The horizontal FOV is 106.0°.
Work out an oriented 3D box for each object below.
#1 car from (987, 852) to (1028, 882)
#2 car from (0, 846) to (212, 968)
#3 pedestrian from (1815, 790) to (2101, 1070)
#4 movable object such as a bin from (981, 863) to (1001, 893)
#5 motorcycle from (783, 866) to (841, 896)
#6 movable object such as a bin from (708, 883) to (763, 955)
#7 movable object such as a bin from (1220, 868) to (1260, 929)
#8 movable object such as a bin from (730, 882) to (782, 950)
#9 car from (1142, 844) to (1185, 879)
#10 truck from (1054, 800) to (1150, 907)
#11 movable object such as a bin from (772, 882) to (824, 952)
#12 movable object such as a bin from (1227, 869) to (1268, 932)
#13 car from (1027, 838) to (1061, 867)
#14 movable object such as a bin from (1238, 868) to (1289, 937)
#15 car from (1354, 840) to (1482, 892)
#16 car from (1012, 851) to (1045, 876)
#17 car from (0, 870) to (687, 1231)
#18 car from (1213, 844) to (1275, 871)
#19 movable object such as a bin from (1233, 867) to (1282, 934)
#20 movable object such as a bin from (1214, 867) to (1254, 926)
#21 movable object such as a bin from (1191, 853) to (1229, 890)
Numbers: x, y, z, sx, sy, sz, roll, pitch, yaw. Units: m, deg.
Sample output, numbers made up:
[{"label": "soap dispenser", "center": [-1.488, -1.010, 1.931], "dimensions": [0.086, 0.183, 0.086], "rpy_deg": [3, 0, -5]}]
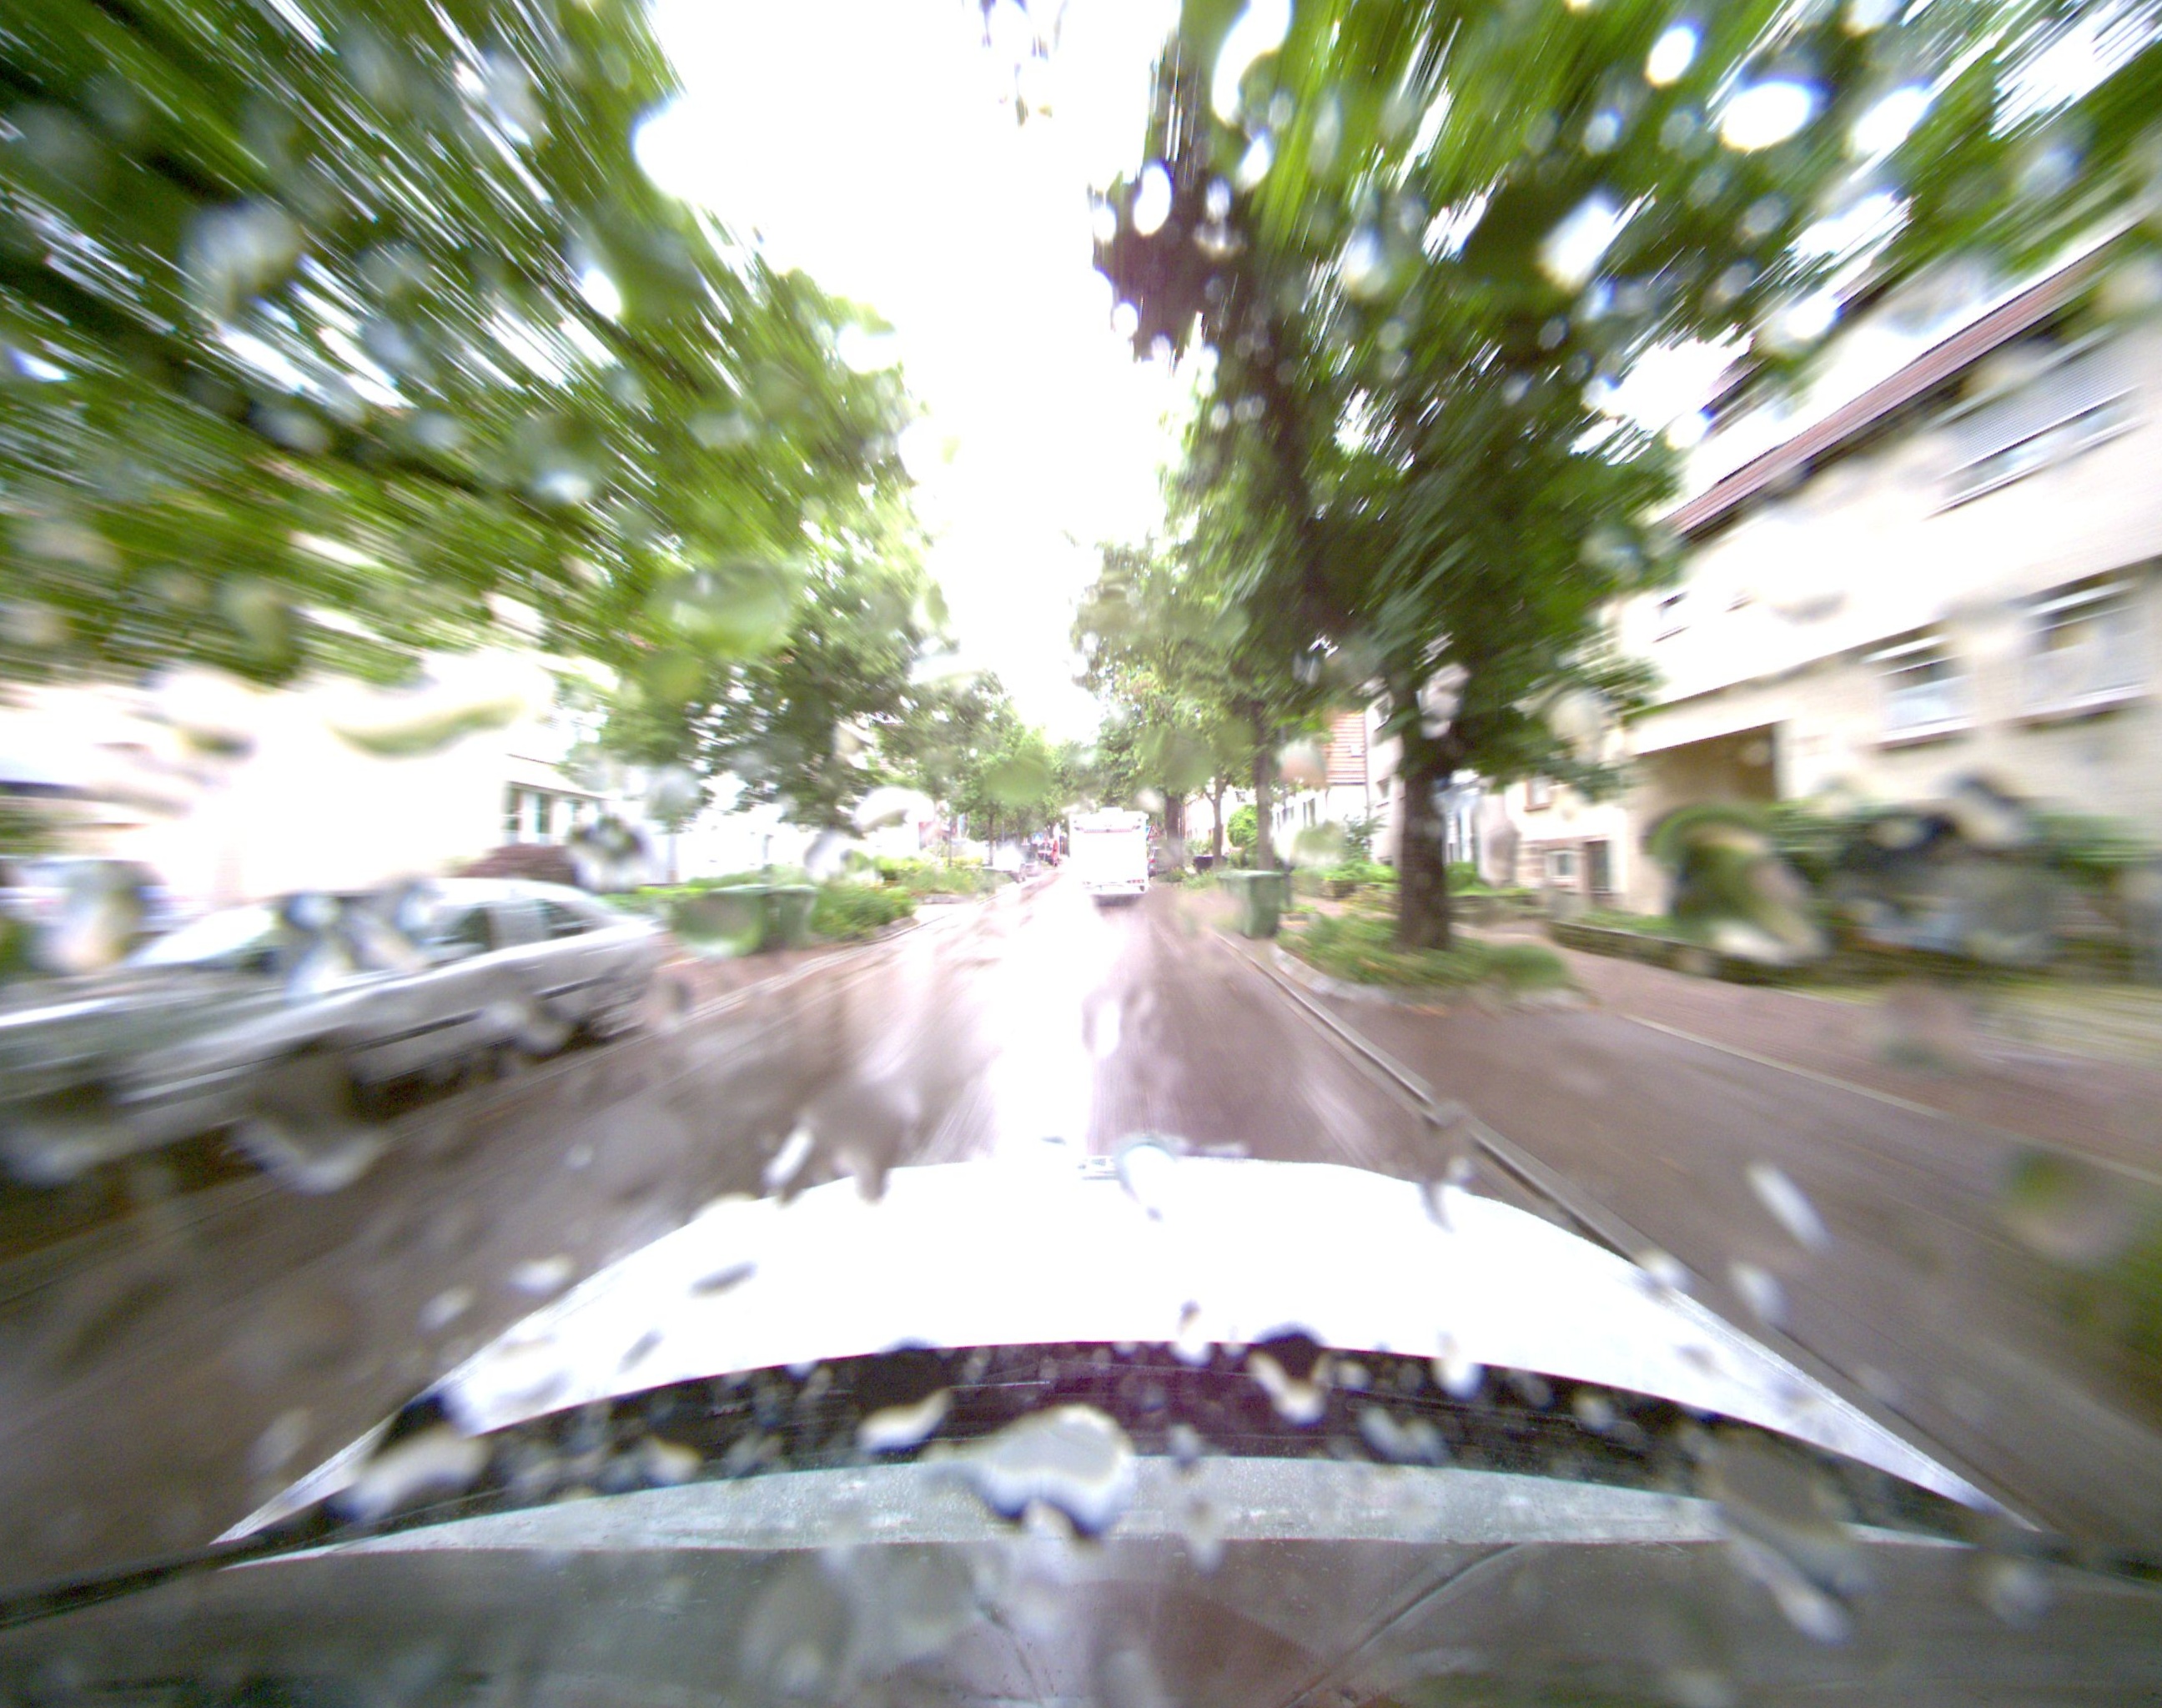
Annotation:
[{"label": "car", "center": [-3.885, 0.666, 43.505], "dimensions": [1.640, 1.533, 3.869], "rpy_deg": [0, 0, 4]}, {"label": "car", "center": [-14.887, 0.677, 11.430], "dimensions": [3.558, 1.477, 1.637], "rpy_deg": [2, 0, 0]}, {"label": "pedestrian", "center": [5.624, 0.462, 5.305], "dimensions": [0.947, 1.652, 0.797], "rpy_deg": [-2, -1, 15]}, {"label": "movable object such as a bin", "center": [-3.529, 0.942, 31.910], "dimensions": [0.640, 1.111, 0.536], "rpy_deg": [-1, 0, 3]}, {"label": "motorcycle", "center": [-10.644, 1.058, 32.242], "dimensions": [1.975, 1.162, 0.818], "rpy_deg": [-1, 0, 1]}, {"label": "movable object such as a bin", "center": [-5.373, 1.002, 12.696], "dimensions": [0.592, 1.062, 0.546], "rpy_deg": [0, 0, 5]}, {"label": "movable object such as a bin", "center": [2.921, 0.807, 14.988], "dimensions": [0.629, 1.082, 0.471], "rpy_deg": [-1, 0, -3]}, {"label": "movable object such as a bin", "center": [-5.300, 1.000, 13.318], "dimensions": [0.592, 1.062, 0.546], "rpy_deg": [0, 0, 5]}, {"label": "car", "center": [4.335, 0.370, 43.381], "dimensions": [1.907, 1.792, 4.490], "rpy_deg": [-1, 0, 1]}, {"label": "truck", "center": [0.686, -0.017, 26.106], "dimensions": [2.684, 2.986, 6.239], "rpy_deg": [-1, 0, 2]}, {"label": "movable object such as a bin", "center": [-4.582, 1.010, 13.191], "dimensions": [0.592, 1.062, 0.546], "rpy_deg": [2, 0, 5]}, {"label": "movable object such as a bin", "center": [2.946, 0.807, 14.445], "dimensions": [0.608, 1.082, 0.512], "rpy_deg": [-1, 0, -3]}, {"label": "car", "center": [-3.237, -0.201, 73.027], "dimensions": [2.293, 2.483, 5.792], "rpy_deg": [-1, 1, 4]}, {"label": "movable object such as a bin", "center": [2.947, 0.773, 13.198], "dimensions": [0.686, 1.082, 0.540], "rpy_deg": [-1, 0, -3]}, {"label": "car", "center": [13.967, 0.505, 33.933], "dimensions": [4.446, 1.900, 2.000], "rpy_deg": [3, -1, 0]}, {"label": "car", "center": [-3.344, 0.583, 52.773], "dimensions": [1.765, 1.553, 4.002], "rpy_deg": [1, 1, 1]}, {"label": "car", "center": [-4.845, 0.864, 5.703], "dimensions": [1.765, 1.389, 4.549], "rpy_deg": [0, 0, 3]}, {"label": "car", "center": [9.765, 0.188, 48.905], "dimensions": [3.356, 1.430, 1.629], "rpy_deg": [-3, 0, -2]}, {"label": "movable object such as a bin", "center": [2.974, 0.775, 13.771], "dimensions": [0.686, 1.082, 0.540], "rpy_deg": [-1, 0, -3]}, {"label": "movable object such as a bin", "center": [2.915, 0.804, 15.537], "dimensions": [0.642, 1.082, 0.540], "rpy_deg": [-1, 0, -3]}, {"label": "movable object such as a bin", "center": [4.696, 0.624, 29.701], "dimensions": [1.219, 1.315, 1.135], "rpy_deg": [-2, 0, 4]}]
